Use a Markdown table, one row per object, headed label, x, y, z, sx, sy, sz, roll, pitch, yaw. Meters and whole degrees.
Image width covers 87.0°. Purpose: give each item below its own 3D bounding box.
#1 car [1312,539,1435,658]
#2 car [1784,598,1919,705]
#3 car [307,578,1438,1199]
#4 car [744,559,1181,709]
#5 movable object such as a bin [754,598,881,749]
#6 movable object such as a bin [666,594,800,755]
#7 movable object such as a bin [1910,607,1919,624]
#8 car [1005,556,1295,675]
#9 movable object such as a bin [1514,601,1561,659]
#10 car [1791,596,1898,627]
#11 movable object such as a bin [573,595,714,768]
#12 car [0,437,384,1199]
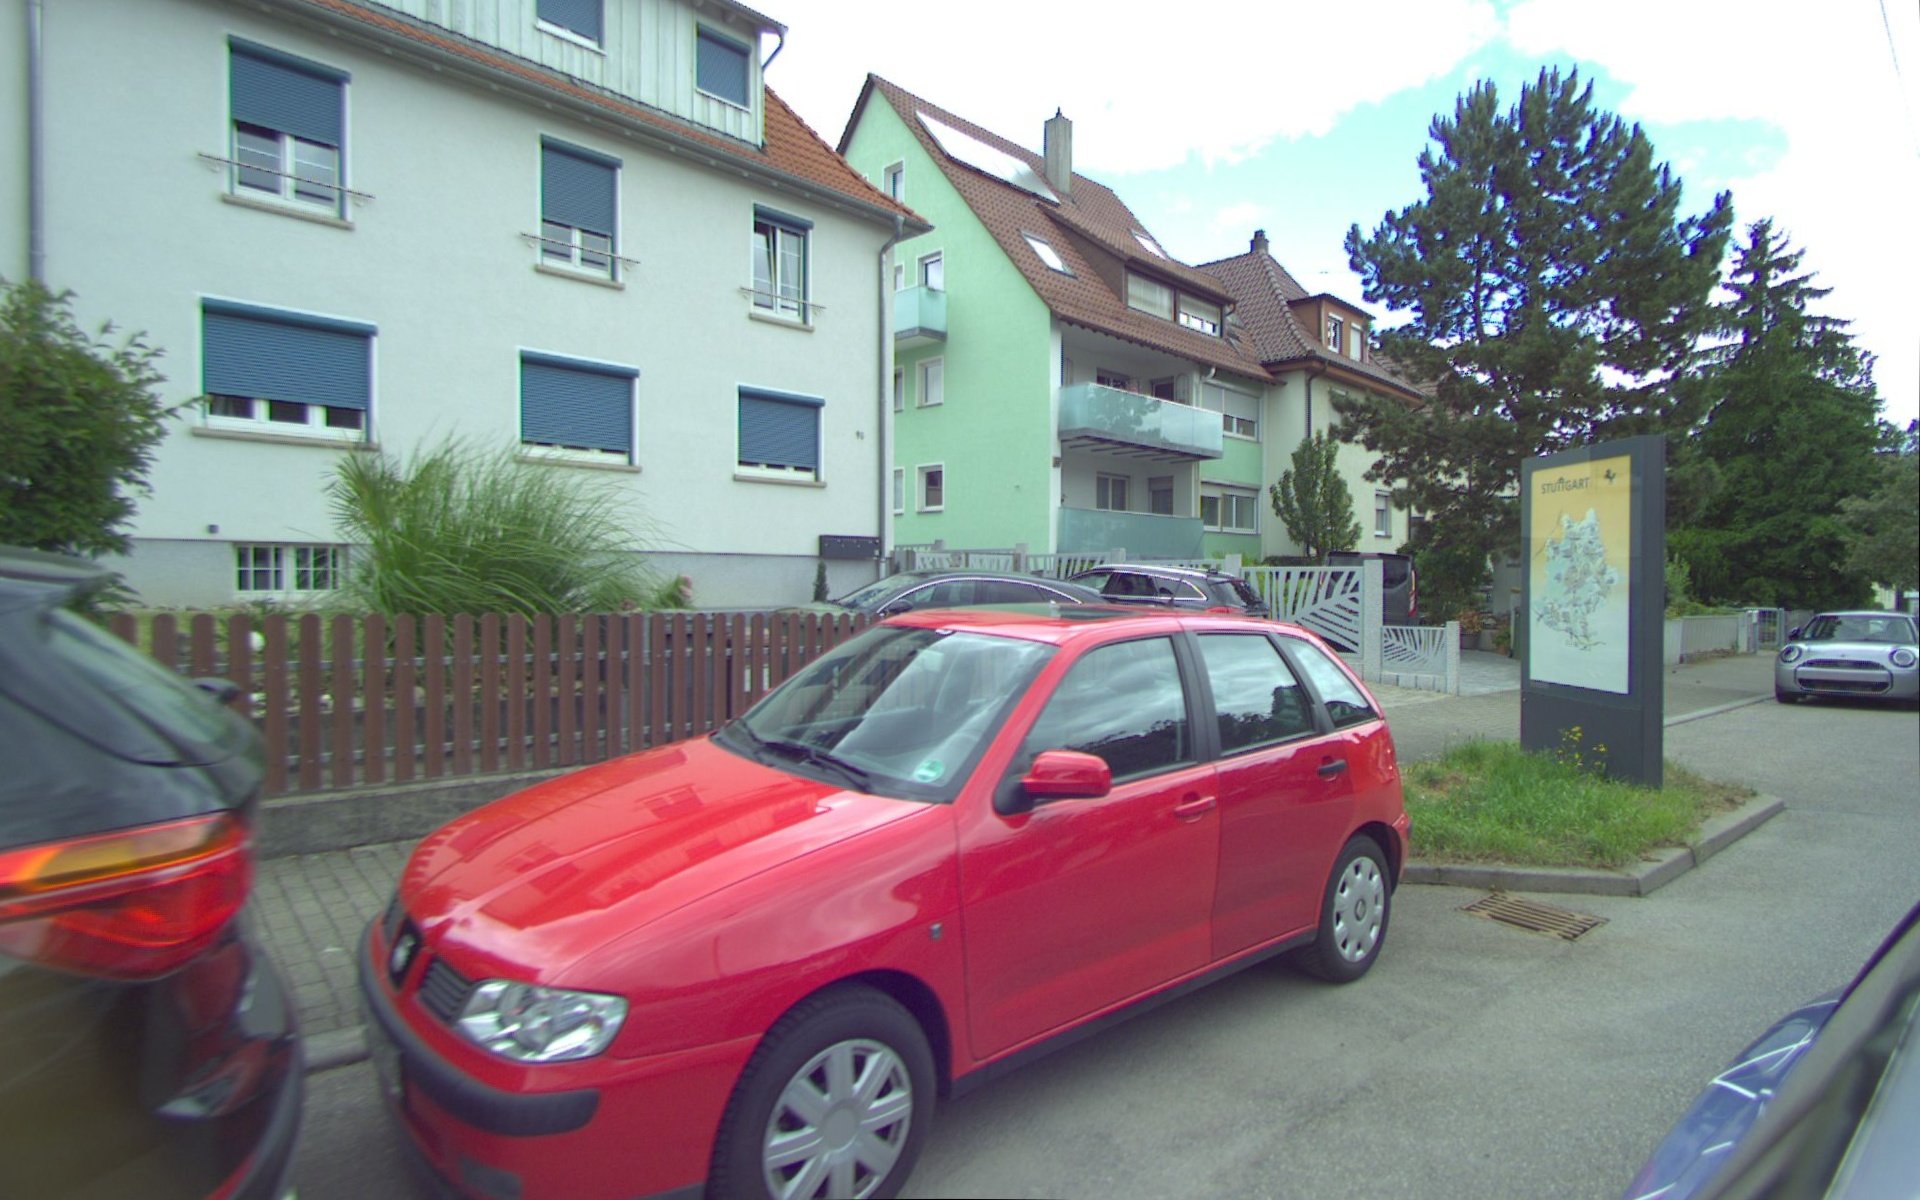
| label | x | y | z | sx | sy | sz | roll | pitch | yaw |
| --- | --- | --- | --- | --- | --- | --- | --- | --- | --- |
| car | 8.482 | -0.175 | 20.836 | 1.957 | 2.037 | 4.691 | 5 | 5 | 22 |
| car | 14.266 | 0.701 | 15.695 | 3.930 | 1.399 | 1.653 | -1 | 1 | -41 |
| car | 0.004 | 0.673 | 3.498 | 3.603 | 1.410 | 1.665 | 1 | 1 | -41 |
| car | -0.009 | 0.300 | 11.025 | 4.385 | 1.398 | 1.829 | 0 | 2 | -18 |
| movable object such as a bin | -1.150 | 0.559 | 8.155 | 0.679 | 1.117 | 0.777 | 1 | 1 | -42 |
| movable object such as a bin | -1.729 | 0.530 | 7.687 | 0.679 | 1.117 | 0.777 | 1 | 1 | -42 |
| movable object such as a bin | 61.467 | 0.988 | 64.961 | 0.635 | 1.060 | 0.577 | -1 | 0 | 40 |
| car | 2.890 | 0.139 | 16.025 | 4.259 | 1.524 | 1.670 | 4 | 4 | 42 |
| movable object such as a bin | 11.580 | 0.593 | 20.301 | 0.586 | 1.069 | 0.612 | 5 | 5 | 15 |
| car | 51.085 | 0.619 | 58.515 | 1.833 | 1.506 | 4.428 | -1 | 4 | -42 |
| movable object such as a bin | -2.254 | 0.541 | 7.184 | 0.679 | 1.117 | 0.777 | 1 | 1 | -42 |
| car | -2.927 | 0.559 | 0.786 | 4.030 | 1.584 | 1.664 | 1 | 1 | -44 |
